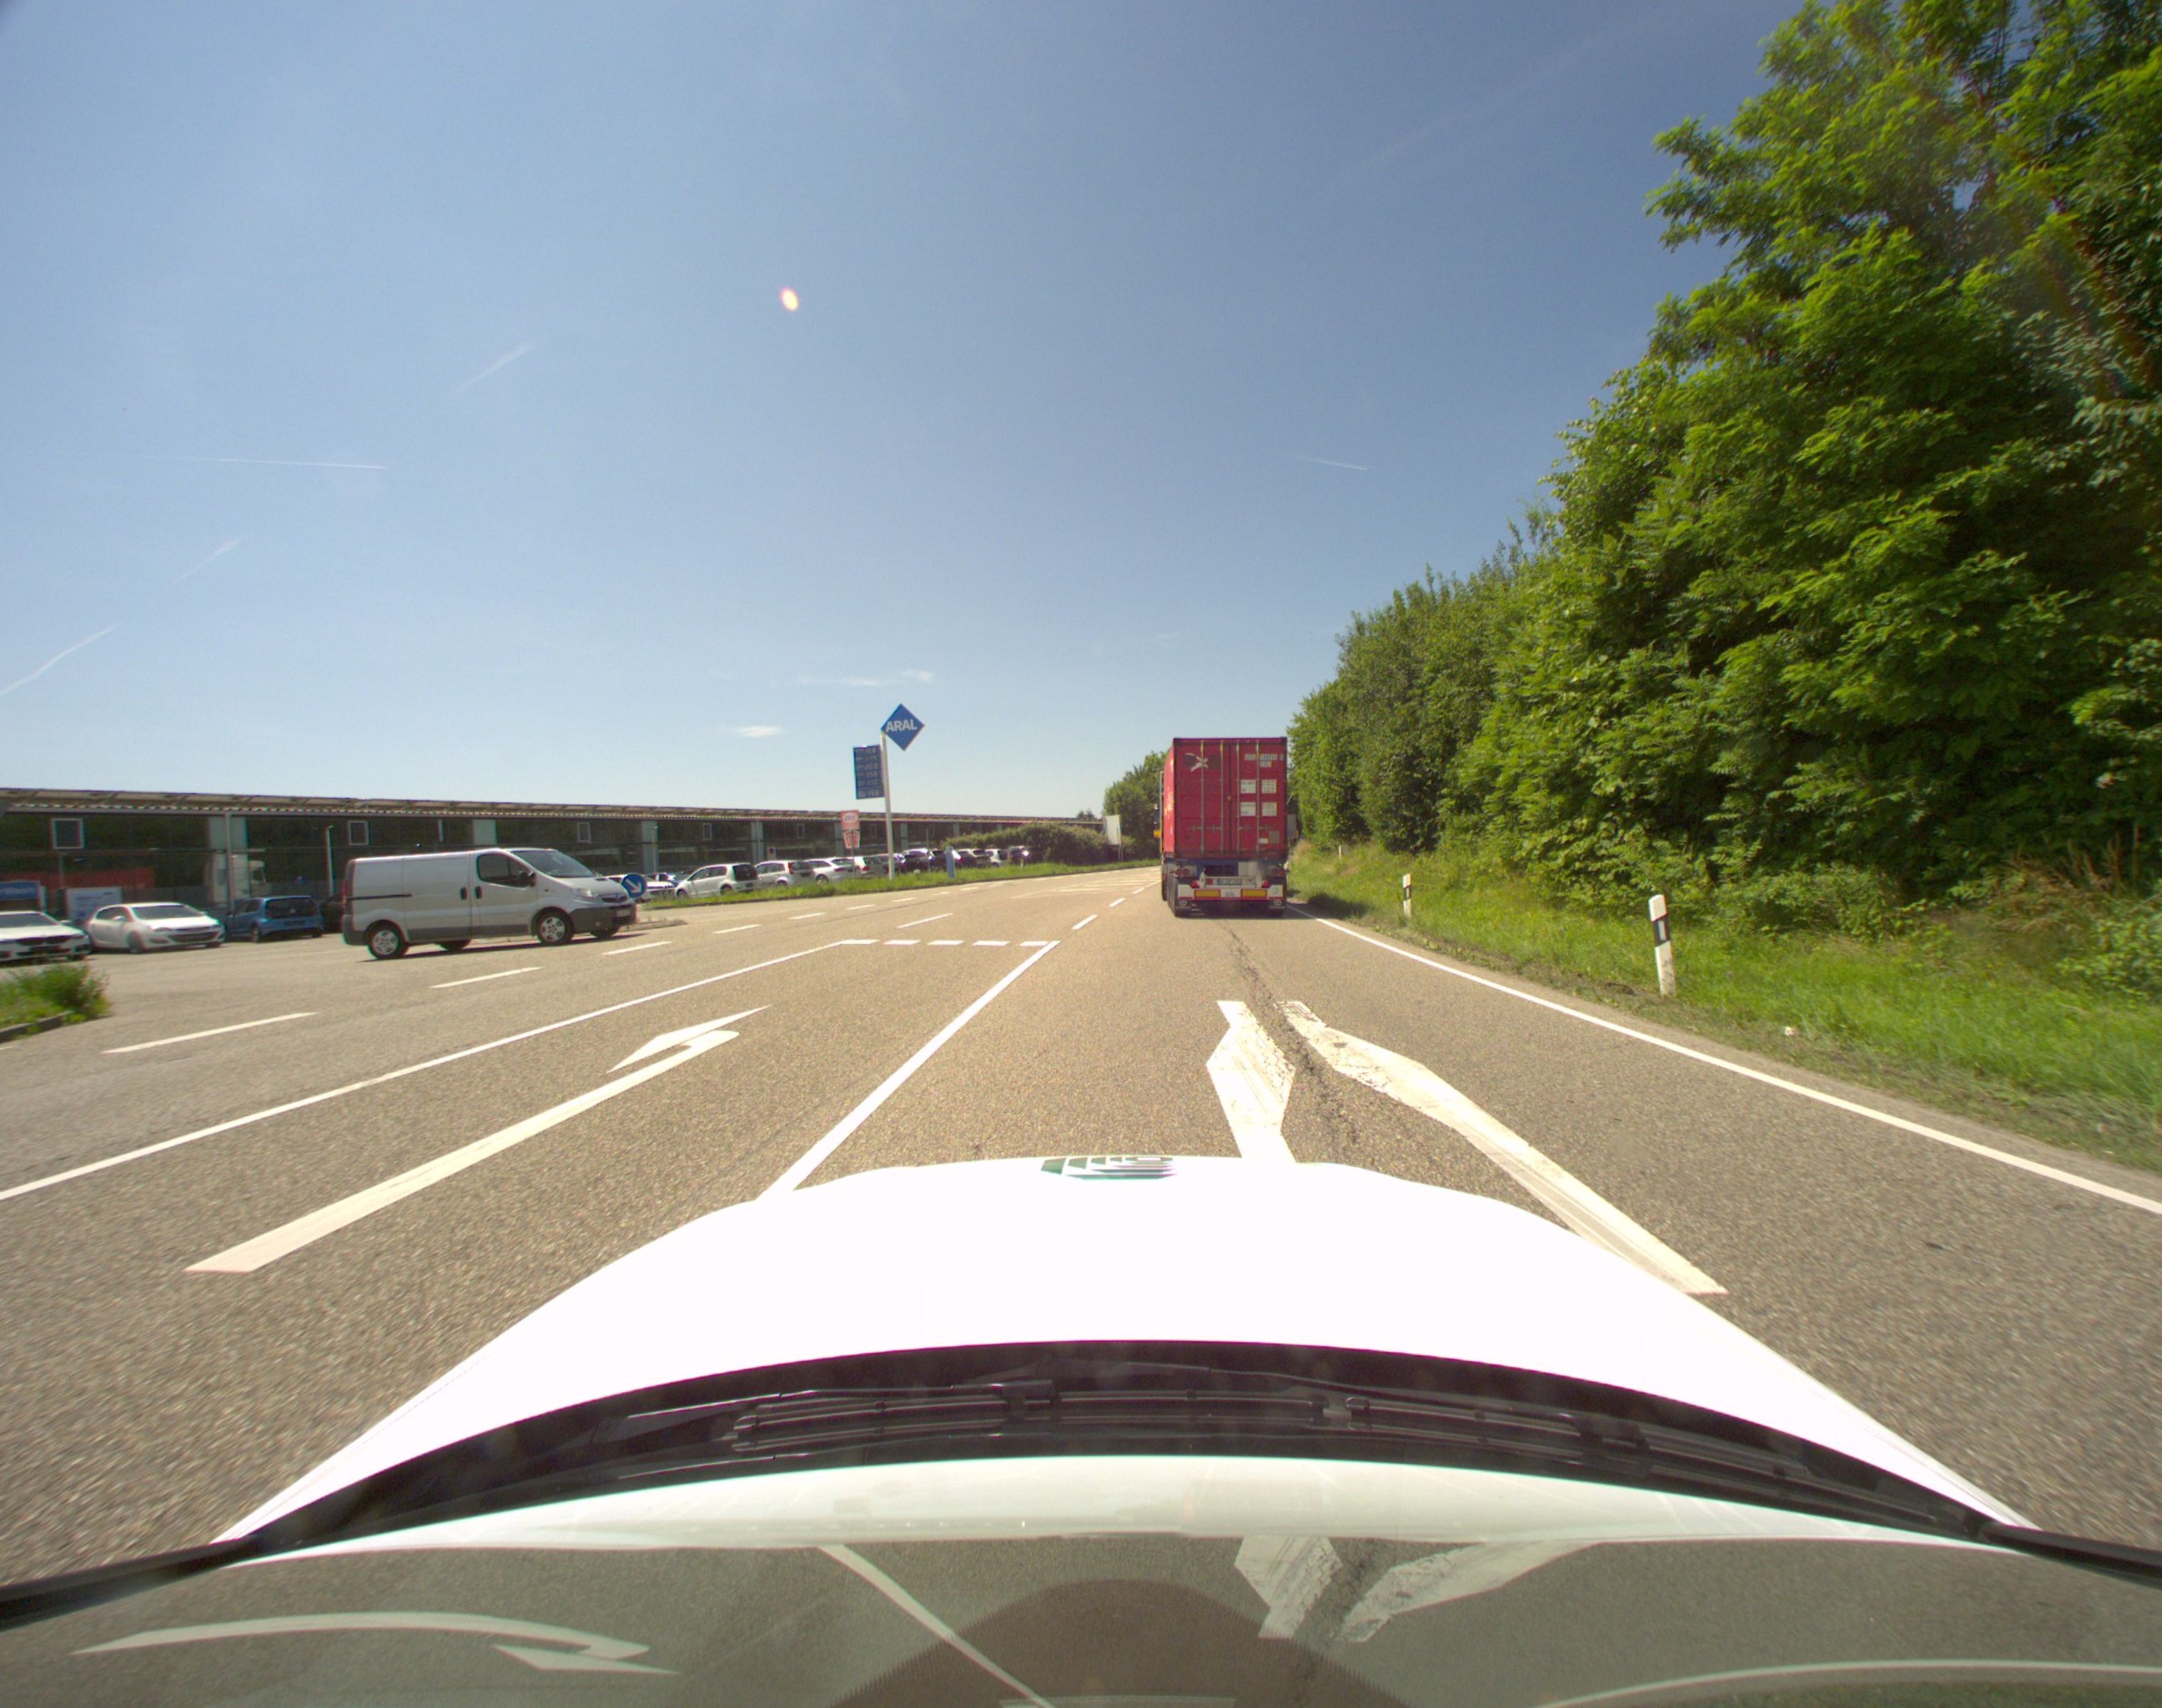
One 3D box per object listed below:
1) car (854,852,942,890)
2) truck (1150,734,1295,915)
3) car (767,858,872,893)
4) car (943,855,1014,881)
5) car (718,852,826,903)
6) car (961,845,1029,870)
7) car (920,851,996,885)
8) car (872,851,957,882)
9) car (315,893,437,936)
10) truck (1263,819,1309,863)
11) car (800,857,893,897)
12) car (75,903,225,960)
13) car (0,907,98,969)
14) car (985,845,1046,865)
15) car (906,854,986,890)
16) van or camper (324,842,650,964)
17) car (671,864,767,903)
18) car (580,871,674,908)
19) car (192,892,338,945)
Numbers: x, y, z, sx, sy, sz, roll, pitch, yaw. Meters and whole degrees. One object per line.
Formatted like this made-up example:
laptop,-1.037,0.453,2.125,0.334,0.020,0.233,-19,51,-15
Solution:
car,-9.438,0.884,41.974,3.951,1.750,2.011,-3,-1,24
truck,3.561,-0.653,23.892,2.636,3.806,13.371,0,0,3
car,-11.993,0.984,37.431,4.199,1.359,2.011,-3,0,22
car,-6.489,0.870,51.711,3.952,1.317,1.843,-4,0,21
car,-13.396,1.019,35.328,3.952,2.013,2.011,-3,0,22
car,-5.686,0.237,53.725,3.953,1.362,1.830,-4,0,21
car,-7.442,0.860,49.324,3.951,1.750,2.011,-4,0,24
car,-8.992,0.688,43.901,3.951,1.332,2.011,-4,0,24
car,-26.090,2.239,30.150,3.952,1.246,1.780,-5,0,23
truck,19.710,-1.249,77.805,2.897,3.716,13.426,-3,0,19
car,-11.437,1.122,39.690,3.951,1.750,1.946,-3,0,24
car,-28.403,2.348,24.863,3.822,1.496,1.854,-3,0,23
car,-29.338,2.327,22.271,3.952,1.442,2.011,-3,0,22
car,-4.491,0.074,55.851,3.663,1.373,1.814,0,1,24
car,-7.733,1.039,46.725,3.951,1.750,2.011,-4,0,24
van or camper,-11.574,0.909,16.153,4.836,1.904,1.903,-4,0,-3
car,-14.850,1.208,33.399,3.413,1.441,1.572,-3,0,21
car,-21.720,1.708,39.005,3.951,1.582,1.828,-3,-1,23
car,-27.576,2.172,27.538,3.952,1.530,2.011,-3,0,22
